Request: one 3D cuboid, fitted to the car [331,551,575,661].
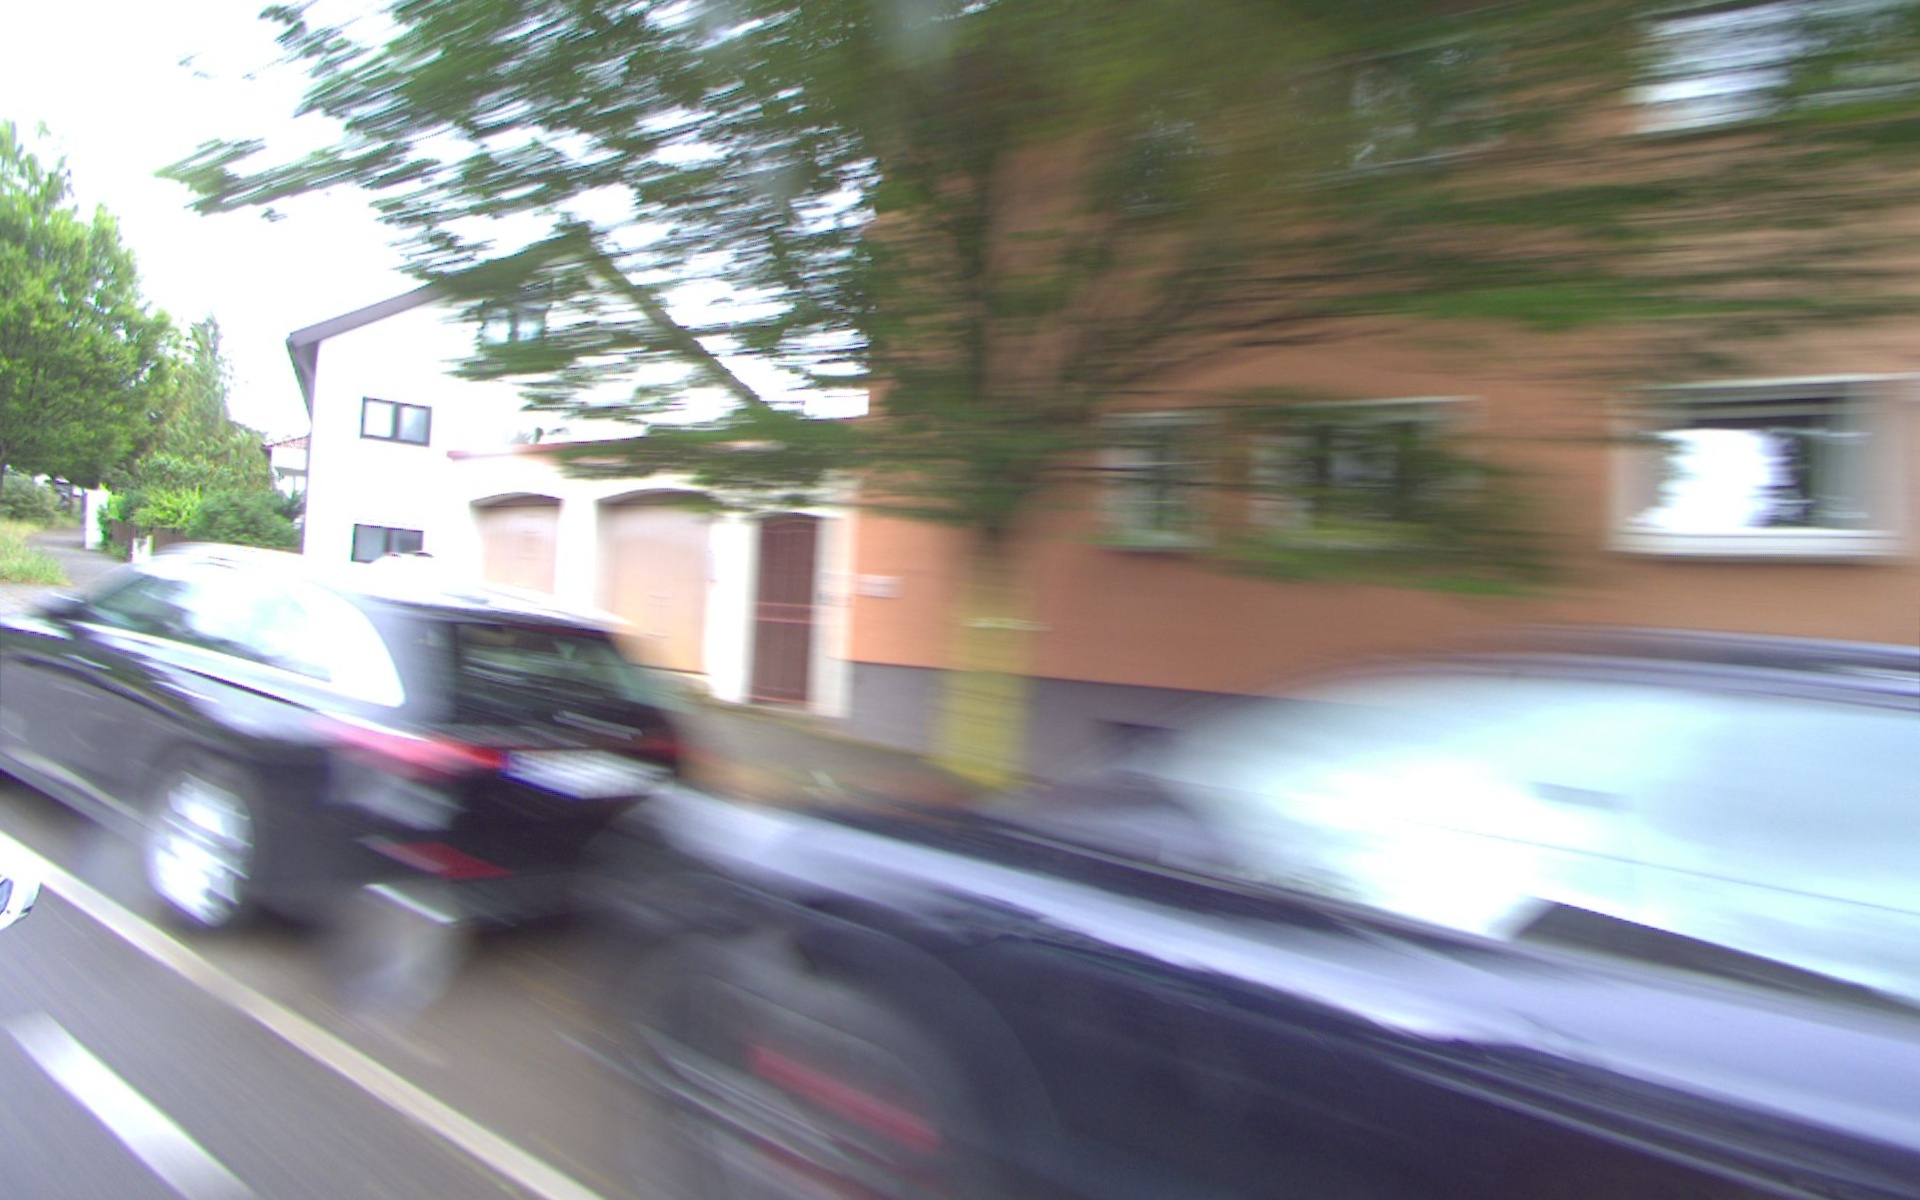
[{"bbox_3d":[-9.628,0.151,19.289,1.755,1.480,3.679,5,-5,43],"label":"car"}]

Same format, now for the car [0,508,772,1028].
[{"bbox_3d":[-3.563,0.491,5.274,4.972,1.485,1.867,6,-4,32],"label":"car"}]

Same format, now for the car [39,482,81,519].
[{"bbox_3d":[-73.673,-8.155,82.383,2.167,2.521,5.964,9,-2,-41],"label":"car"}]

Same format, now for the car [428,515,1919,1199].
[{"bbox_3d":[1.263,0.914,2.249,5.152,1.676,2.056,6,-1,34],"label":"car"}]

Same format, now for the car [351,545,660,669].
[{"bbox_3d":[-7.616,0.181,17.200,1.909,1.480,4.302,3,-6,42],"label":"car"}]

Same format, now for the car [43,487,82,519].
[{"bbox_3d":[-68.609,-7.422,76.985,1.987,2.076,5.061,8,-1,-41],"label":"car"}]

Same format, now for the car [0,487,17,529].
[{"bbox_3d":[-44.856,-4.344,46.117,1.770,1.874,4.378,8,-1,-38],"label":"car"}]
